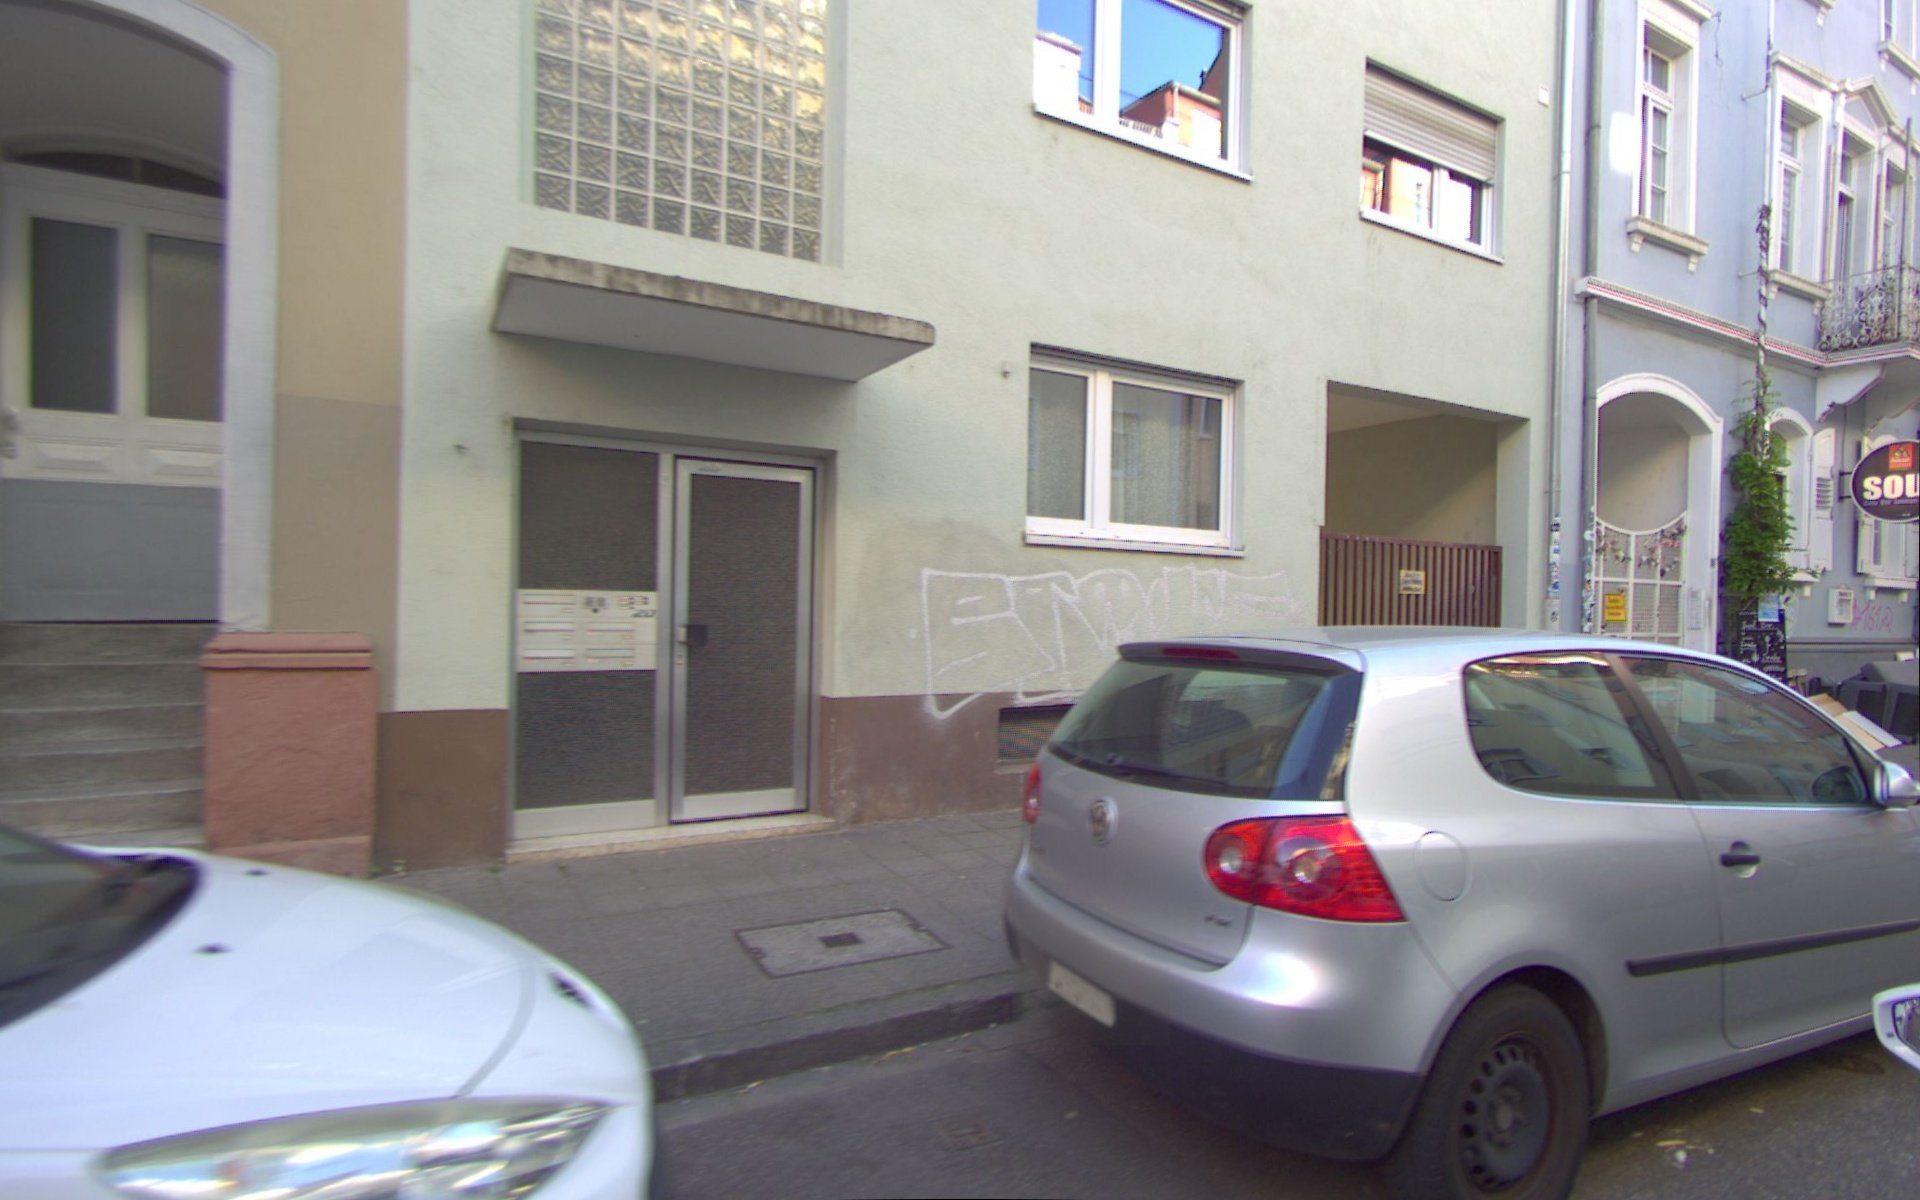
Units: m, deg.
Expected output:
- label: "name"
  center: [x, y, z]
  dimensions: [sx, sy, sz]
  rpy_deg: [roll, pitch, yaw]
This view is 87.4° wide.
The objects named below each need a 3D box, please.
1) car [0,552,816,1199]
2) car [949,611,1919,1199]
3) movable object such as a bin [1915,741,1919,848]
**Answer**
- label: "car"
  center: [-2.347, 0.674, 1.161]
  dimensions: [3.954, 1.471, 1.781]
  rpy_deg: [1, -1, -31]
- label: "car"
  center: [2.102, 0.810, 3.667]
  dimensions: [3.981, 1.474, 1.675]
  rpy_deg: [1, -2, -27]
- label: "movable object such as a bin"
  center: [7.050, 1.263, 6.710]
  dimensions: [0.579, 0.909, 0.839]
  rpy_deg: [1, 1, -33]
